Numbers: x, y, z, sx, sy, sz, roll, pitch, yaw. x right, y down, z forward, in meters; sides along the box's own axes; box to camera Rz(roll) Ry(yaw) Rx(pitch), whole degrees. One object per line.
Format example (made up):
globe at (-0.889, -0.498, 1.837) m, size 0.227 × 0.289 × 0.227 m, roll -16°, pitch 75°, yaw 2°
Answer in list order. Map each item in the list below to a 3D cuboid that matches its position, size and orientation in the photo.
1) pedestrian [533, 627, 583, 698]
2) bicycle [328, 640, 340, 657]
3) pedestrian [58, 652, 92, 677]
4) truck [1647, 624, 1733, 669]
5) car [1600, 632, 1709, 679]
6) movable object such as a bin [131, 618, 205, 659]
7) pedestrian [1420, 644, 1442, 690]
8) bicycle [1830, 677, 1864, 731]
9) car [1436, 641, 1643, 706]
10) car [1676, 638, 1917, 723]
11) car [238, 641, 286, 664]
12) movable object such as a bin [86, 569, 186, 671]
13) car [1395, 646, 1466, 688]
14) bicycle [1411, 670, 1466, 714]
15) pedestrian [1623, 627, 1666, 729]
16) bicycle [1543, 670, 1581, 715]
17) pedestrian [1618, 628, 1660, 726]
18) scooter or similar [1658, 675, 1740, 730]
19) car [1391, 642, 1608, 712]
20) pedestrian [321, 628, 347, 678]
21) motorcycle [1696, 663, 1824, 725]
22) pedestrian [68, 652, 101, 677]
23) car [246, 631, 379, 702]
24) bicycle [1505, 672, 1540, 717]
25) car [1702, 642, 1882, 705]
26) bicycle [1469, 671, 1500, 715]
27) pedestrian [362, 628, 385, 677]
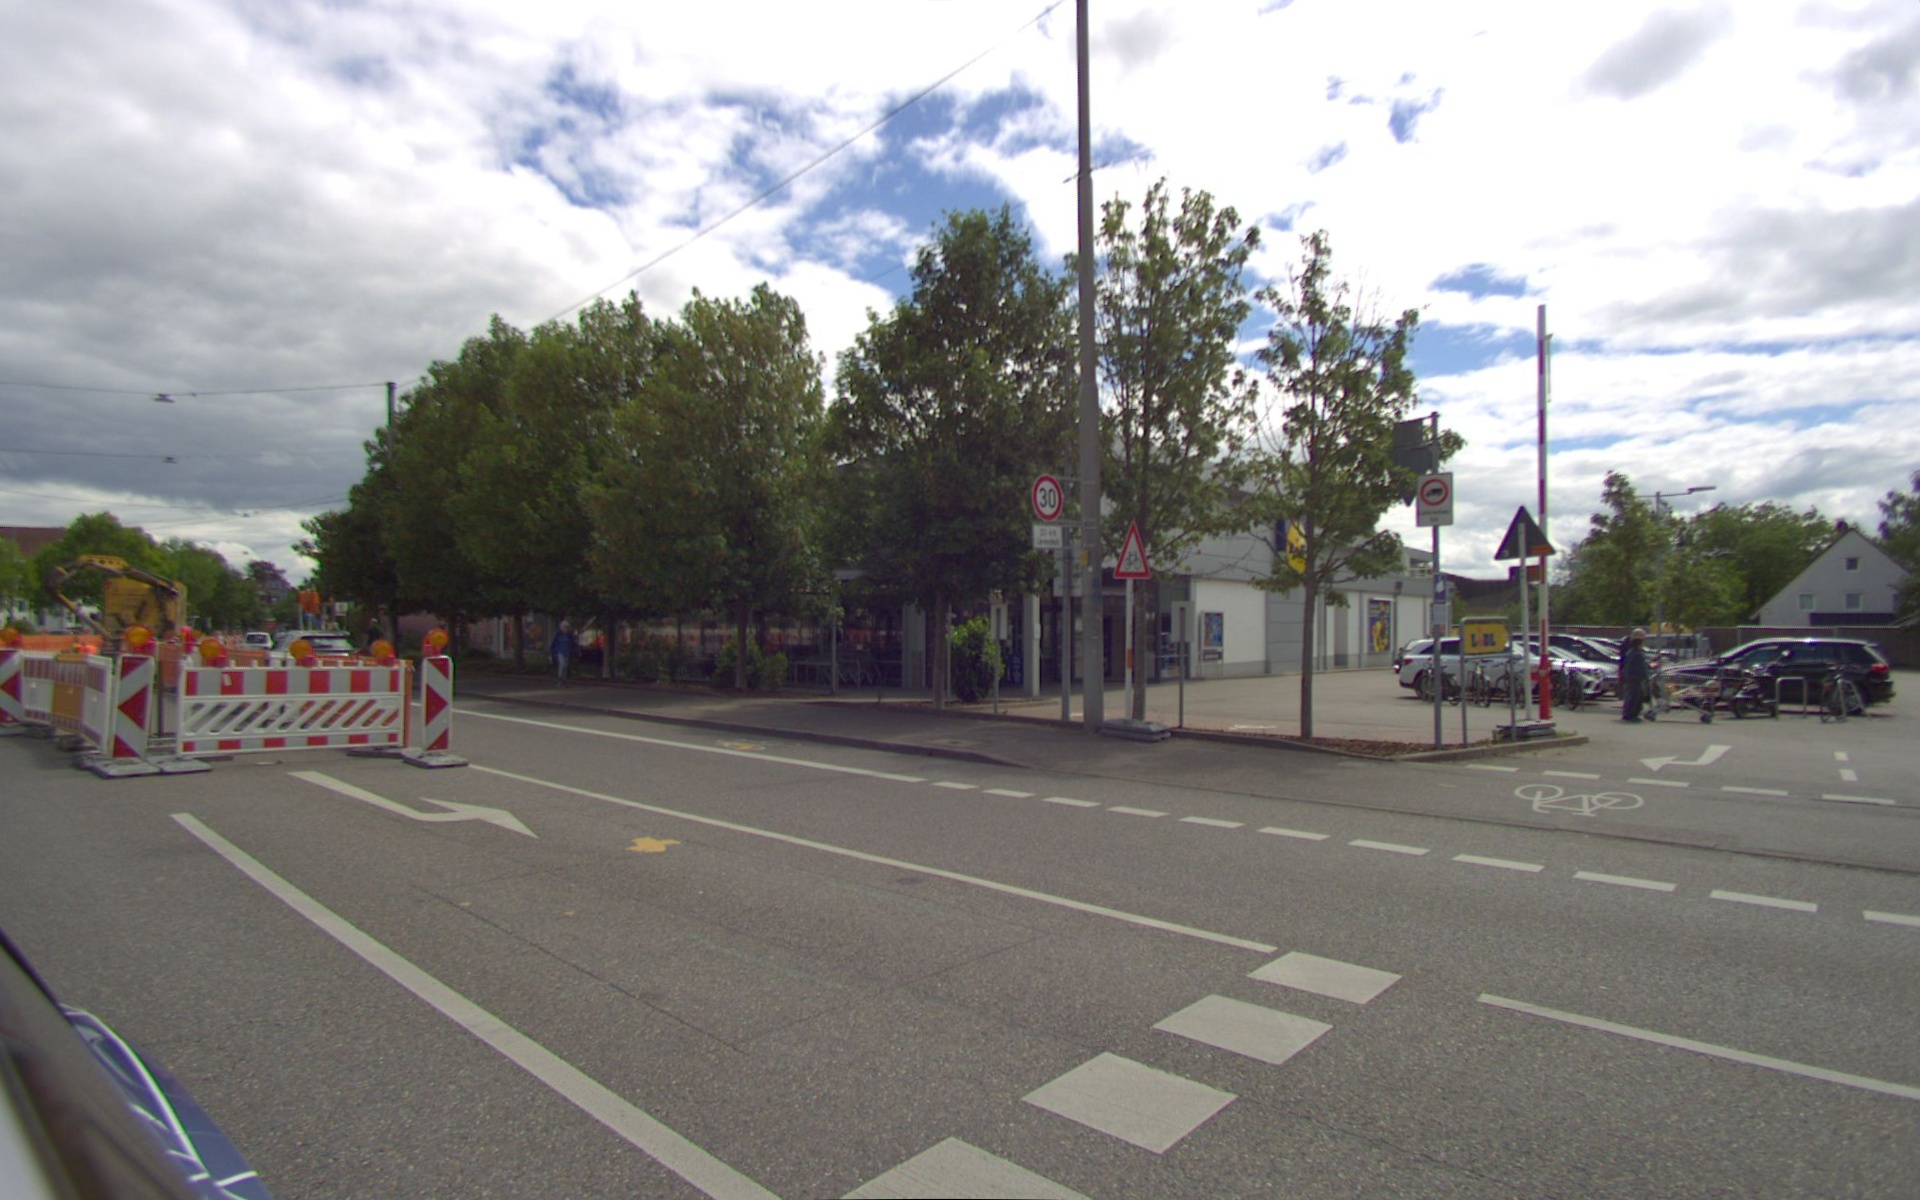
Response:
pedestrian at (-9.398, 1.450, 23.648) m, size 0.829 × 1.615 × 0.745 m, roll -2°, pitch -3°, yaw 39°
bicycle at (-41.257, 3.219, 66.717) m, size 0.530 × 1.091 × 2.138 m, roll 2°, pitch -3°, yaw -28°
pedestrian at (-35.987, 2.605, 41.173) m, size 0.779 × 0.998 × 0.814 m, roll 2°, pitch -3°, yaw -21°
truck at (46.612, 2.940, 64.637) m, size 4.310 × 2.792 × 1.973 m, roll -1°, pitch -3°, yaw 40°
car at (37.623, 2.943, 54.908) m, size 4.695 × 2.413 × 1.973 m, roll -1°, pitch -3°, yaw 40°
movable object such as a bin at (-53.212, 2.617, 68.146) m, size 1.965 × 2.646 × 6.543 m, roll 2°, pitch -3°, yaw -21°
pedestrian at (17.037, 2.407, 36.571) m, size 0.606 × 1.629 × 0.499 m, roll -1°, pitch -3°, yaw 40°
bicycle at (17.120, 1.988, 19.527) m, size 1.631 × 0.964 × 0.314 m, roll 3°, pitch -3°, yaw -43°
car at (15.813, 1.943, 27.748) m, size 4.669 × 1.584 × 1.973 m, roll -1°, pitch -3°, yaw 40°
car at (18.587, 1.717, 22.664) m, size 3.998 × 1.708 × 1.973 m, roll -2°, pitch -3°, yaw 41°
car at (-47.686, 3.572, 69.220) m, size 1.828 × 1.464 × 4.013 m, roll 0°, pitch -1°, yaw -21°
movable object such as a bin at (-38.233, 1.043, 47.276) m, size 2.556 × 4.254 × 11.148 m, roll 2°, pitch -3°, yaw -34°
car at (20.566, 2.891, 44.189) m, size 1.997 × 1.697 × 3.948 m, roll -1°, pitch -2°, yaw 38°
bicycle at (11.595, 2.215, 24.593) m, size 0.344 × 0.964 × 1.886 m, roll 0°, pitch -2°, yaw -3°
pedestrian at (12.810, 1.447, 18.934) m, size 0.611 × 1.873 × 0.417 m, roll -2°, pitch -3°, yaw 38°
bicycle at (13.929, 2.118, 23.441) m, size 0.346 × 0.964 × 1.873 m, roll 0°, pitch -3°, yaw 18°
pedestrian at (13.177, 1.483, 19.645) m, size 0.611 × 1.873 × 0.417 m, roll -2°, pitch -3°, yaw 38°
scooter or similar at (14.041, 1.931, 19.236) m, size 1.228 × 0.950 × 0.647 m, roll -2°, pitch -3°, yaw 38°
car at (13.884, 1.924, 26.203) m, size 4.669 × 1.584 × 1.973 m, roll -1°, pitch -3°, yaw 40°
pedestrian at (-23.766, 2.011, 38.410) m, size 0.685 × 1.861 × 0.624 m, roll 1°, pitch -2°, yaw -20°
motorcycle at (16.155, 1.886, 20.474) m, size 1.926 × 1.202 × 0.862 m, roll 1°, pitch -3°, yaw -4°
pedestrian at (-35.094, 2.588, 40.574) m, size 0.632 × 0.998 × 0.795 m, roll 1°, pitch -3°, yaw -11°
car at (-15.502, 1.525, 24.160) m, size 1.833 × 1.525 × 4.002 m, roll 3°, pitch -3°, yaw -45°
bicycle at (13.235, 2.201, 23.833) m, size 0.346 × 0.964 × 1.873 m, roll 0°, pitch -3°, yaw 18°
car at (24.613, 2.127, 30.062) m, size 3.998 × 1.708 × 1.973 m, roll -2°, pitch -3°, yaw 41°
bicycle at (12.541, 2.211, 24.237) m, size 0.346 × 0.964 × 1.873 m, roll 0°, pitch -3°, yaw 18°
pedestrian at (-22.581, 2.000, 38.971) m, size 0.616 × 1.861 × 0.624 m, roll 1°, pitch -2°, yaw -20°
